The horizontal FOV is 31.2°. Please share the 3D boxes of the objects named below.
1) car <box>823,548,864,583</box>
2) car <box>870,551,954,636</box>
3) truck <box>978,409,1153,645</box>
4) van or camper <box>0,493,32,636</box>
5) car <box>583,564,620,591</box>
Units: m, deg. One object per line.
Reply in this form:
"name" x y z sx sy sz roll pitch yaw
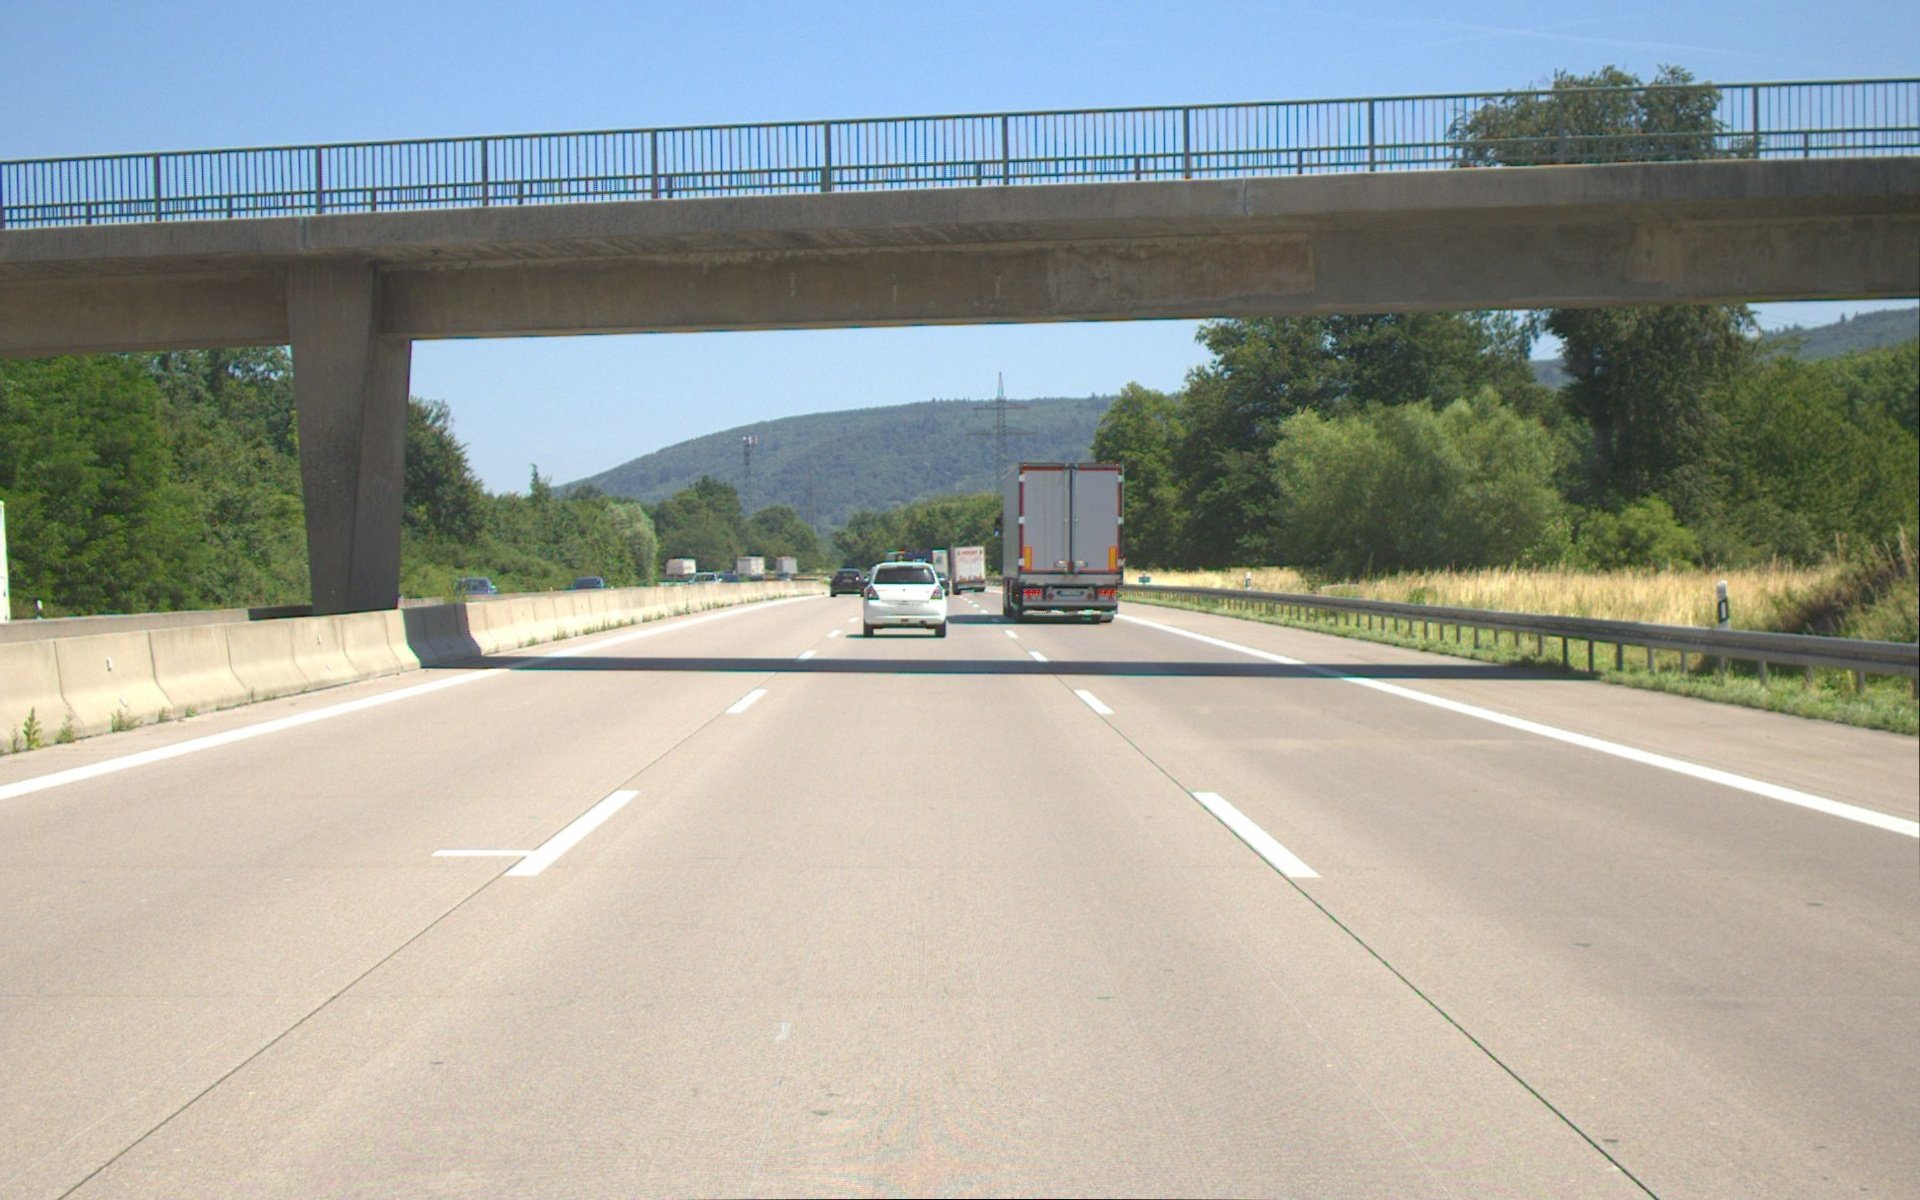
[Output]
"car" -6.040 -1.784 177.939 2.022 1.695 4.000 1 0 -3
"car" -0.972 -0.156 70.081 1.641 1.656 3.360 1 1 0
"truck" 2.619 -1.917 93.176 3.577 5.767 18.249 0 1 -2
"van or camper" -17.445 -0.588 56.738 2.248 2.435 7.803 1 1 -1
"car" -18.374 -1.158 176.261 1.565 1.315 3.633 -1 1 -1
